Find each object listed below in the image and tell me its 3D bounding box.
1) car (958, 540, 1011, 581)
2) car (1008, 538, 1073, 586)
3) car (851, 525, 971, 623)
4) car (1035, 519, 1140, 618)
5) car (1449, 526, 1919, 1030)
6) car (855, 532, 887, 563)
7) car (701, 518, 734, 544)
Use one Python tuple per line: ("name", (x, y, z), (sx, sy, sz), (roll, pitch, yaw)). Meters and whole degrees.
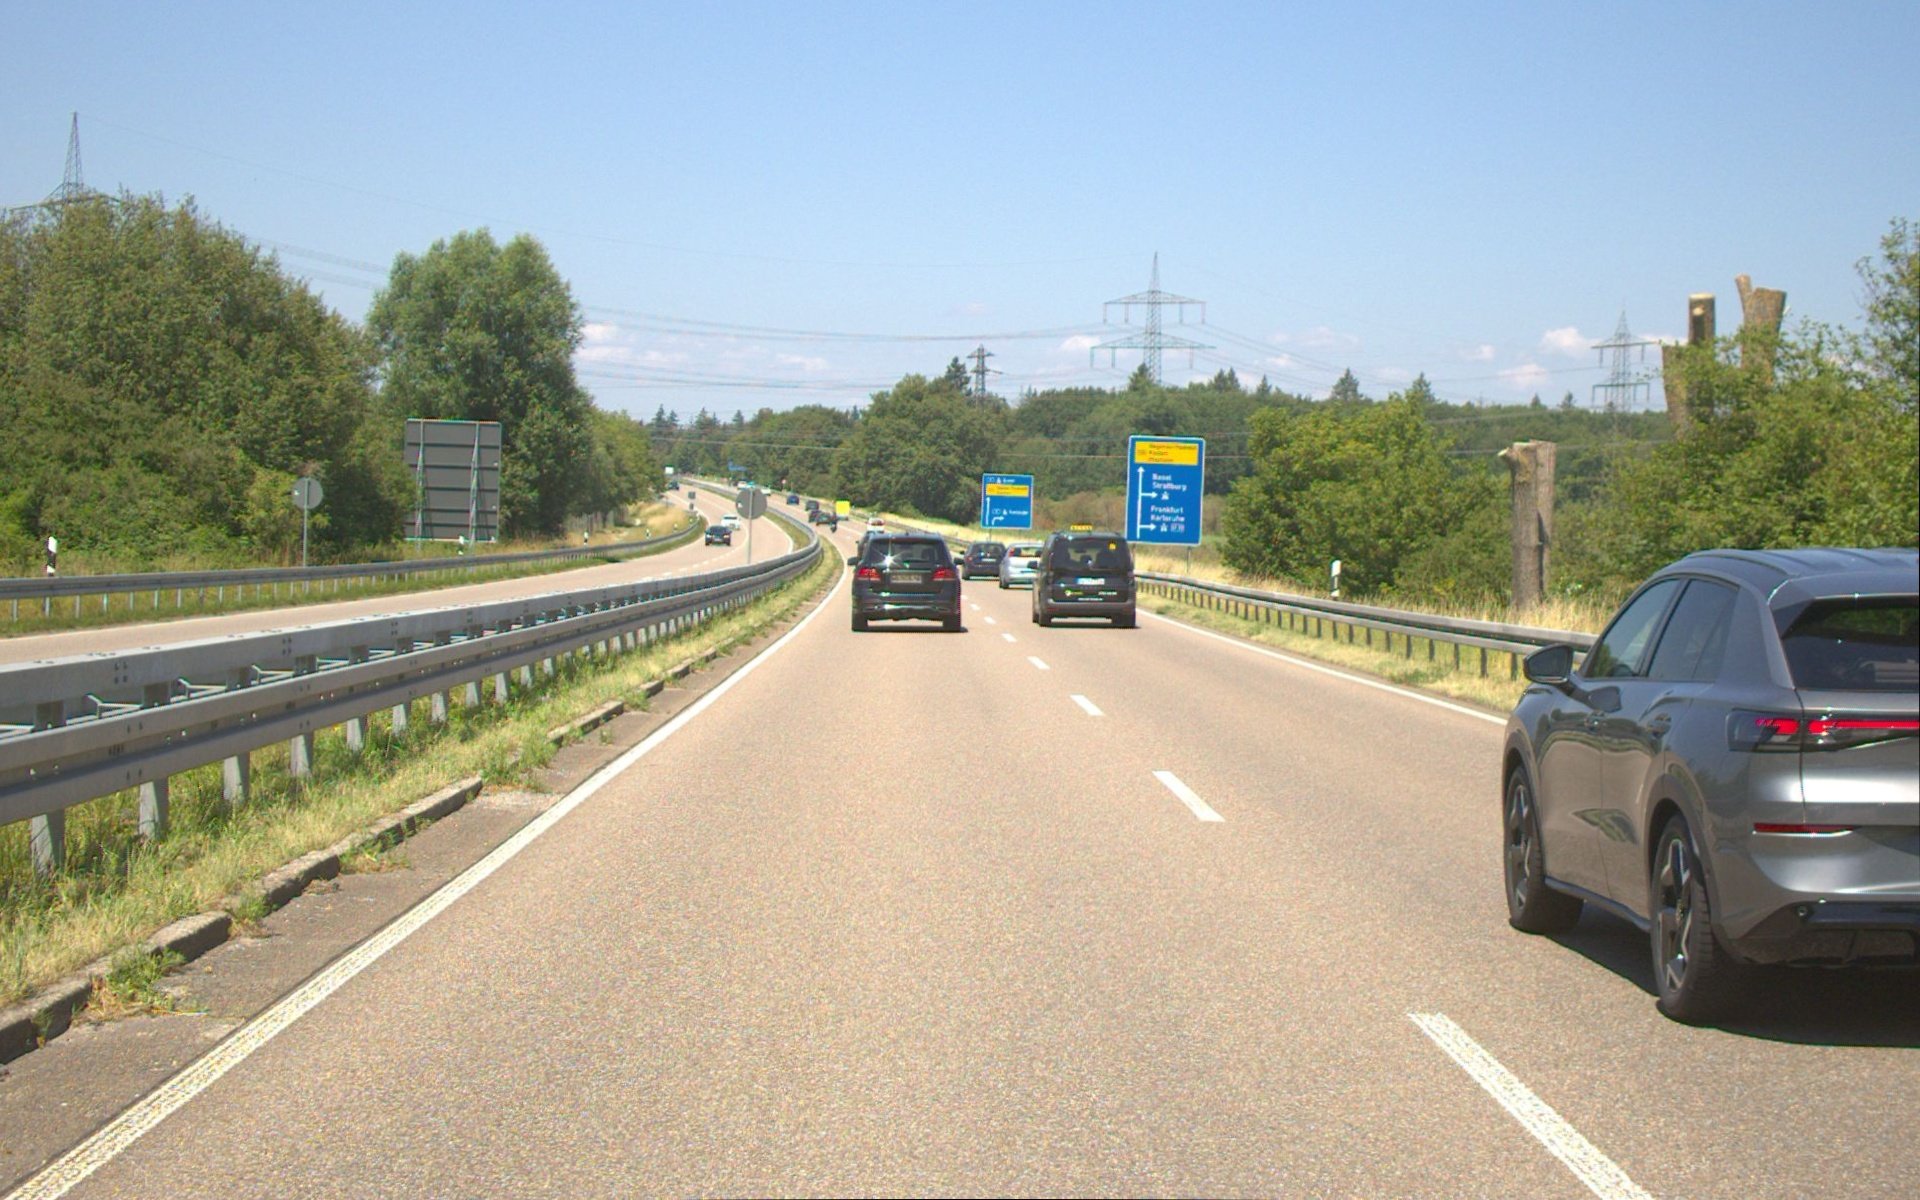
("car", (0.892, -1.470, 126.929), (1.819, 1.409, 4.001), (1, 2, -1))
("car", (2.559, -1.232, 109.830), (1.779, 1.474, 4.316), (1, 1, -2))
("car", (-0.900, -0.489, 61.046), (1.993, 1.649, 4.001), (1, 1, -2))
("car", (2.410, -0.618, 65.959), (1.779, 1.810, 4.213), (1, 1, -1))
("car", (3.078, 0.526, 12.871), (1.785, 1.548, 4.020), (1, 2, -2))
("car", (-4.606, -2.724, 178.102), (1.514, 1.470, 3.067), (4, 2, -2))
("car", (-17.155, -4.894, 243.531), (1.993, 1.631, 4.874), (4, 2, -1))
